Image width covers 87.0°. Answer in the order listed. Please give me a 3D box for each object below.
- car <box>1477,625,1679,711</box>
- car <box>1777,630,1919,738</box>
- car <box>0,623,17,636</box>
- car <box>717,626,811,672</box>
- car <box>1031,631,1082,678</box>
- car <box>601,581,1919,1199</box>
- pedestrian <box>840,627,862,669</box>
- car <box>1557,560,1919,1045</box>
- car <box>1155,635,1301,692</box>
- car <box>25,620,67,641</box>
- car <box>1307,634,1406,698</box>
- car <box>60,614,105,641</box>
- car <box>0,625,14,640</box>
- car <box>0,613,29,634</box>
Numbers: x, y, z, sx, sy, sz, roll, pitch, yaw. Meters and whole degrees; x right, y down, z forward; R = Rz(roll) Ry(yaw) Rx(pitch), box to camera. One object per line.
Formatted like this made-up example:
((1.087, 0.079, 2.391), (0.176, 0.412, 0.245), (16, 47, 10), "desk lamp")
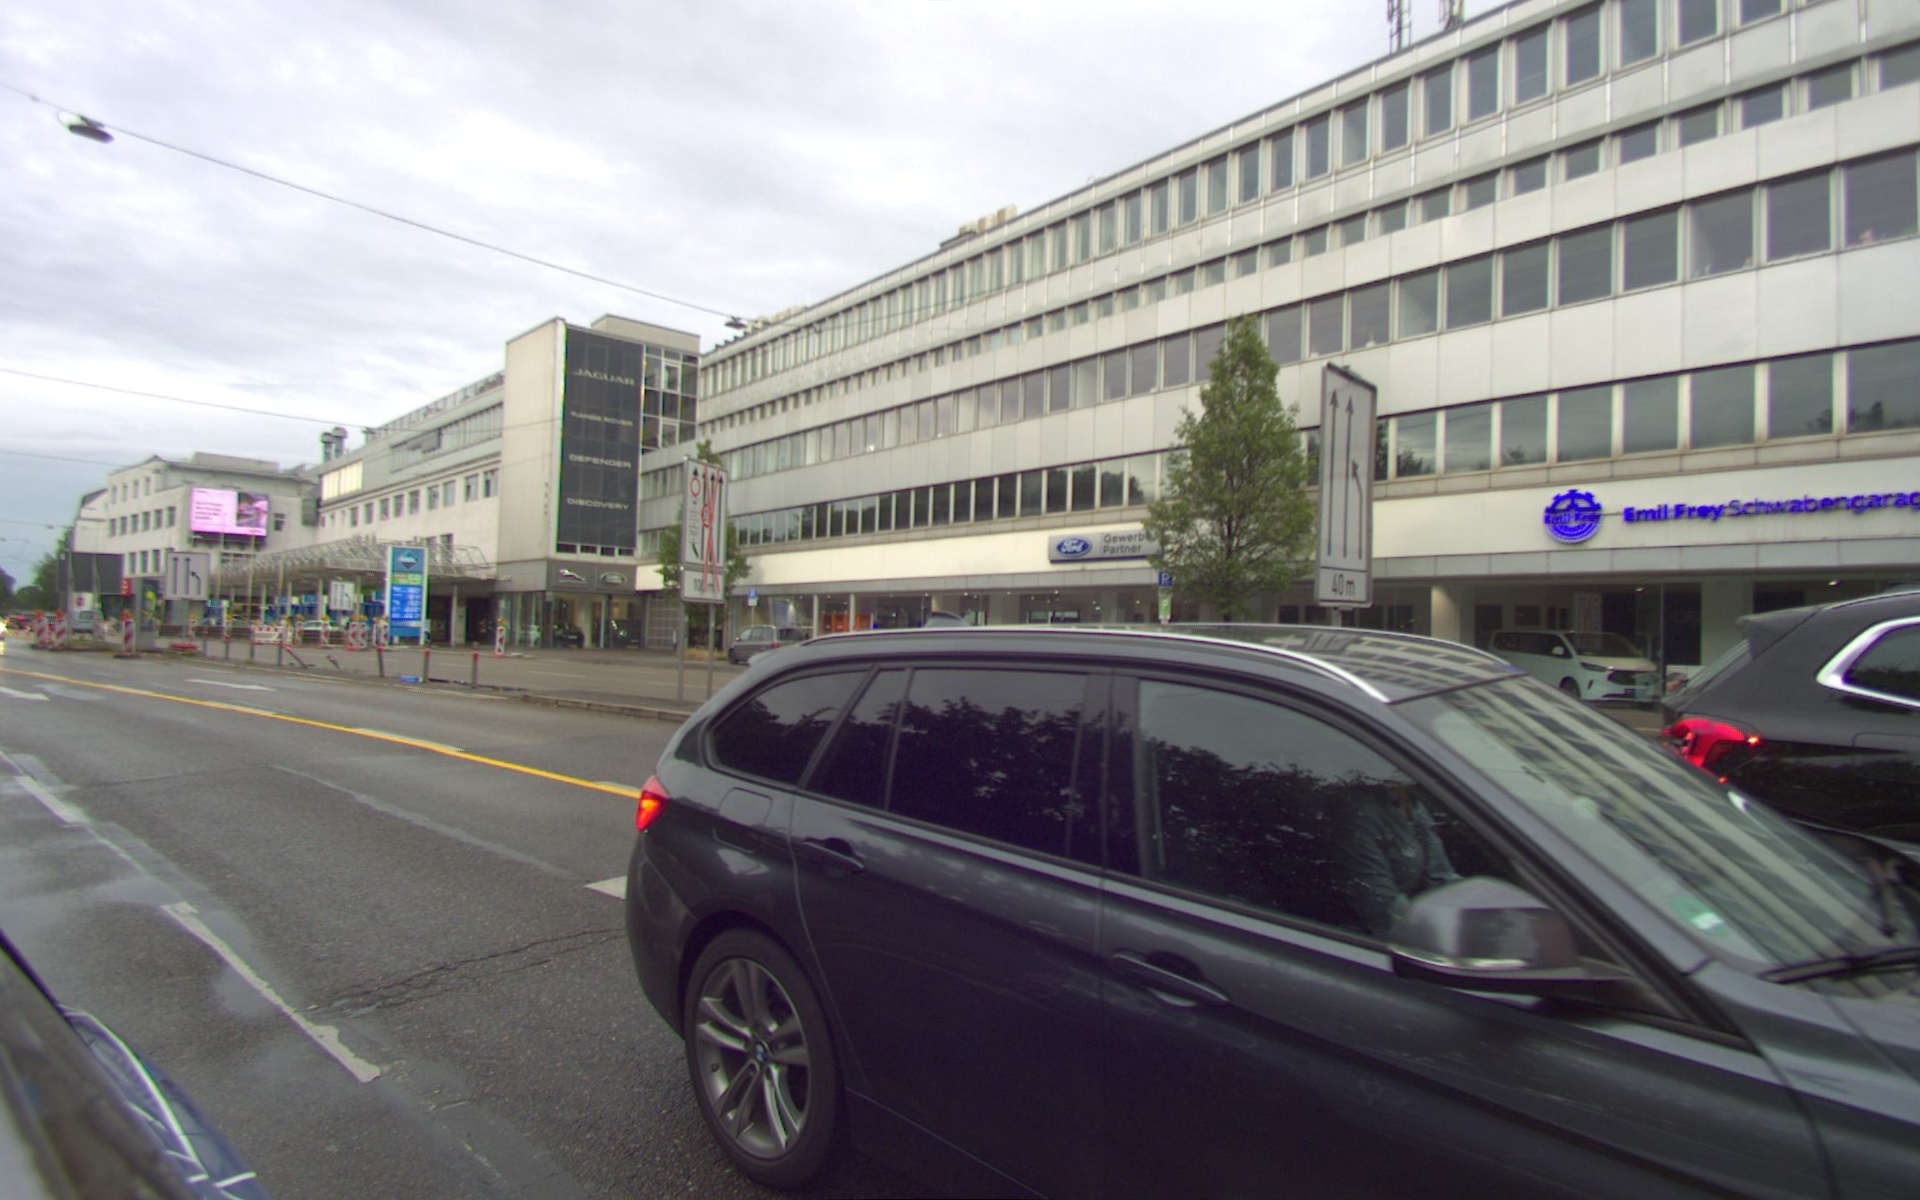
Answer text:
((15.660, 1.720, 26.031), (1.971, 1.912, 4.990), (2, -3, -2), "car")
((19.202, 1.683, 20.208), (1.976, 2.027, 5.195), (2, -3, 6), "car")
((-138.034, 4.252, 146.088), (4.825, 1.720, 1.960), (0, -3, 39), "car")
((-8.455, 2.066, 43.368), (1.825, 1.792, 4.737), (5, -4, -40), "car")
((3.724, 2.120, 39.424), (1.831, 1.664, 4.378), (2, -3, 5), "car")
((1.072, 0.725, 2.268), (4.176, 1.460, 1.741), (2, 1, 42), "car")
((-4.590, 2.013, 42.646), (0.709, 1.745, 0.539), (4, -4, -36), "pedestrian")
((4.772, 0.641, 3.149), (4.672, 1.610, 1.925), (-2, -2, 45), "car")
((8.222, 1.926, 31.301), (1.967, 1.586, 4.009), (4, -4, -36), "car")
((-72.464, 2.434, 80.198), (4.369, 1.513, 1.811), (0, -4, 40), "car")
((11.127, 1.858, 28.680), (1.980, 1.586, 3.984), (1, -3, 12), "car")
((-61.479, 1.896, 70.890), (4.299, 1.799, 1.715), (-1, -4, 41), "car")
((-102.999, 3.501, 108.586), (4.301, 1.570, 1.788), (-1, -3, 43), "car")
((-85.637, 2.091, 91.334), (4.601, 1.751, 1.826), (0, -3, 41), "car")
